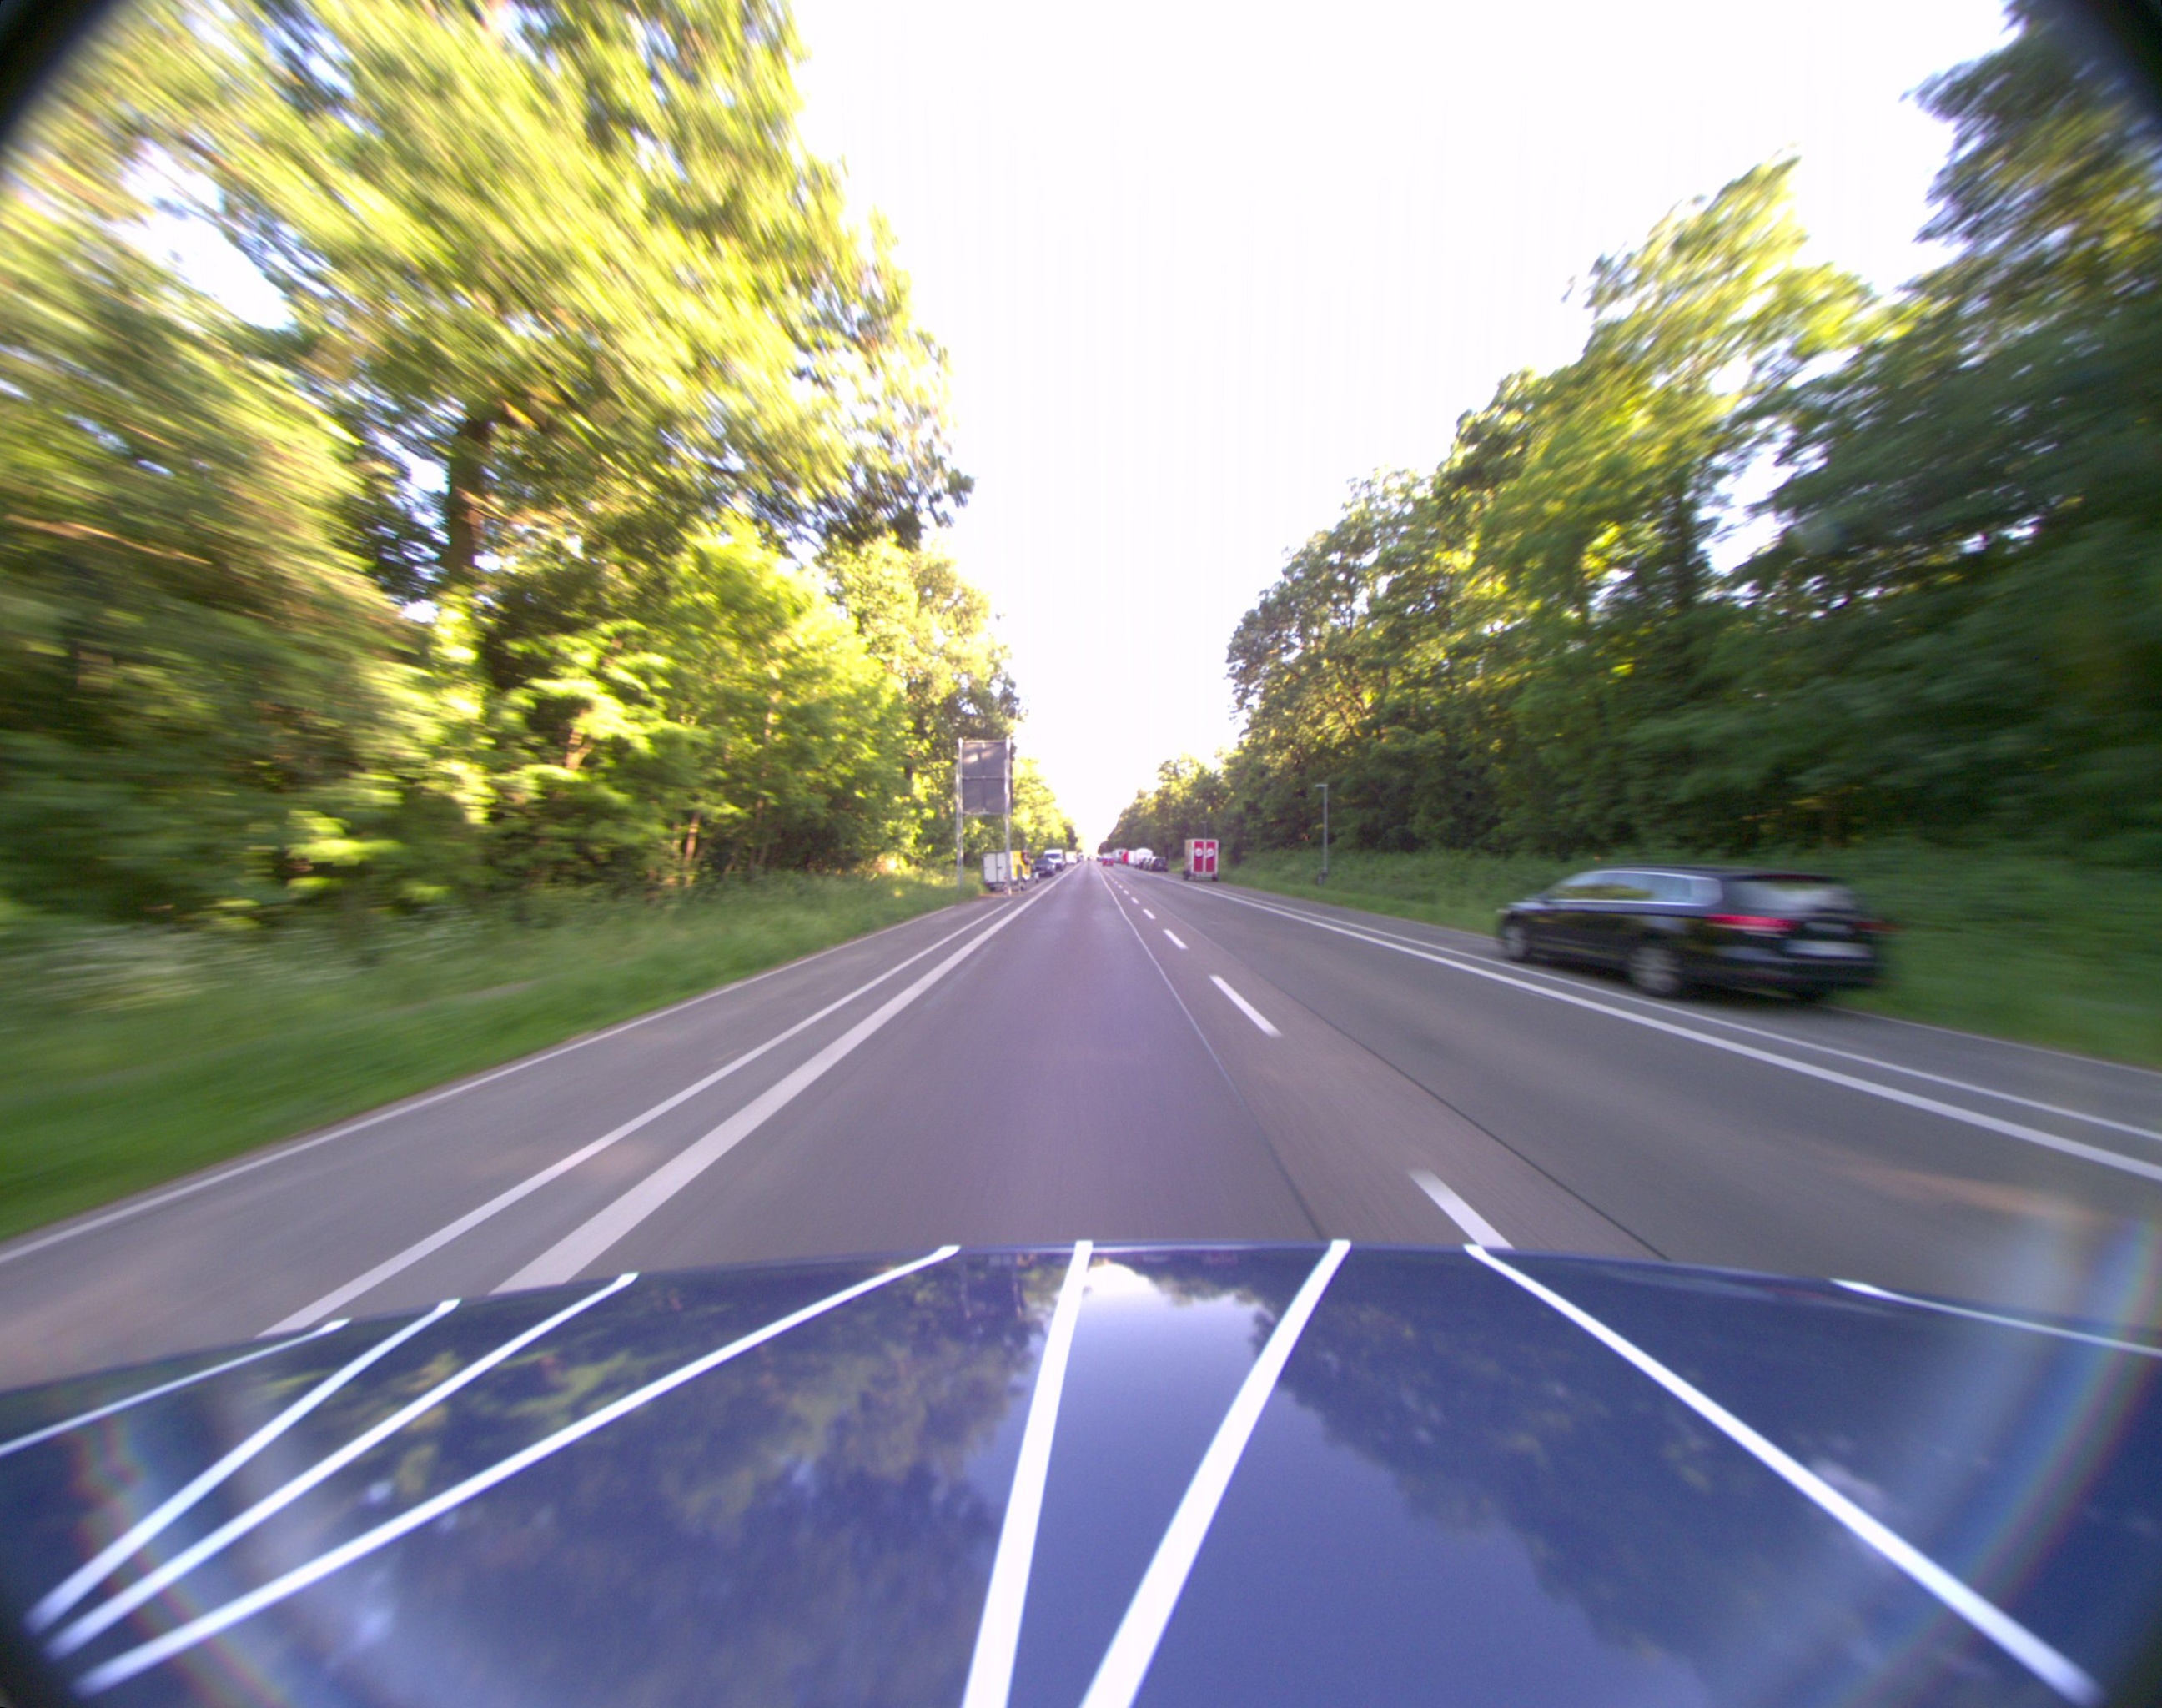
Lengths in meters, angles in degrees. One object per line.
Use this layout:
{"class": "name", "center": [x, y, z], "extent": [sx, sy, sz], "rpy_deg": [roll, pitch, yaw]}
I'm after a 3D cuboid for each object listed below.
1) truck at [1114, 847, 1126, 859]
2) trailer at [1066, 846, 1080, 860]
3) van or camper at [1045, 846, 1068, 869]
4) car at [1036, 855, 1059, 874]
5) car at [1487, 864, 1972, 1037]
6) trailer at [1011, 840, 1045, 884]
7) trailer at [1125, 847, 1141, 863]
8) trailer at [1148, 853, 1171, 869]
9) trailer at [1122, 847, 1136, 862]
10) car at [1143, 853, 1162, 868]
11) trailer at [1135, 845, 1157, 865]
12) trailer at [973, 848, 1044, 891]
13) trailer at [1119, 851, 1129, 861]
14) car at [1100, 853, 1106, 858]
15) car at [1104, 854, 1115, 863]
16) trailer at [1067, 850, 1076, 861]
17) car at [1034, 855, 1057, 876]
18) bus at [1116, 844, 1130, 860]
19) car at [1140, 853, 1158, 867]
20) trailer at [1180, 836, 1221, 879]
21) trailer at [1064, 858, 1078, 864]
{"class": "truck", "center": [9.814, -0.174, 192.641], "extent": [2.489, 2.807, 8.424], "rpy_deg": [-2, 0, 1]}
{"class": "trailer", "center": [-1.816, -0.256, 177.440], "extent": [2.928, 2.825, 9.881], "rpy_deg": [-4, 1, 0]}
{"class": "van or camper", "center": [-2.749, 0.380, 85.782], "extent": [2.130, 2.468, 6.305], "rpy_deg": [-1, 0, 2]}
{"class": "car", "center": [-2.828, 0.851, 65.269], "extent": [1.739, 1.479, 4.400], "rpy_deg": [-3, 0, 0]}
{"class": "car", "center": [7.108, 0.900, 9.227], "extent": [1.859, 1.456, 4.784], "rpy_deg": [-1, 0, 1]}
{"class": "trailer", "center": [-3.156, 0.446, 45.750], "extent": [1.617, 2.494, 4.000], "rpy_deg": [-2, 1, 1]}
{"class": "trailer", "center": [8.152, 0.220, 119.445], "extent": [2.072, 2.466, 3.560], "rpy_deg": [0, 0, -2]}
{"class": "trailer", "center": [7.966, 0.701, 77.549], "extent": [1.845, 1.457, 4.466], "rpy_deg": [-1, 0, 1]}
{"class": "trailer", "center": [8.435, 0.074, 134.055], "extent": [2.072, 2.466, 3.560], "rpy_deg": [0, 0, -2]}
{"class": "car", "center": [7.911, 0.696, 84.224], "extent": [1.675, 1.565, 5.126], "rpy_deg": [2, 1, 1]}
{"class": "trailer", "center": [8.261, 0.133, 97.040], "extent": [2.352, 2.514, 4.343], "rpy_deg": [0, 0, -2]}
{"class": "trailer", "center": [-3.562, 0.739, 38.061], "extent": [1.964, 2.011, 3.849], "rpy_deg": [-1, 0, 21]}
{"class": "trailer", "center": [8.974, 0.416, 158.896], "extent": [1.857, 2.002, 3.561], "rpy_deg": [2, 0, 1]}
{"class": "car", "center": [6.577, 0.494, 226.779], "extent": [1.824, 1.524, 4.530], "rpy_deg": [0, 1, 1]}
{"class": "car", "center": [4.435, 0.683, 119.308], "extent": [1.608, 1.412, 3.518], "rpy_deg": [0, 0, 1]}
{"class": "trailer", "center": [-1.944, 0.369, 154.885], "extent": [1.758, 2.149, 3.539], "rpy_deg": [-1, 0, 0]}
{"class": "car", "center": [-2.787, 0.865, 60.243], "extent": [1.590, 1.521, 3.011], "rpy_deg": [-3, 0, 1]}
{"class": "bus", "center": [9.912, -0.511, 181.368], "extent": [2.835, 3.411, 11.199], "rpy_deg": [-2, 1, 1]}
{"class": "car", "center": [8.065, 0.691, 90.375], "extent": [1.675, 1.486, 4.194], "rpy_deg": [2, 1, 1]}
{"class": "trailer", "center": [7.567, 0.206, 48.526], "extent": [1.998, 2.606, 4.086], "rpy_deg": [-1, 0, 1]}
{"class": "trailer", "center": [-1.858, 1.299, 140.519], "extent": [2.439, 0.794, 5.659], "rpy_deg": [-2, 1, 1]}
